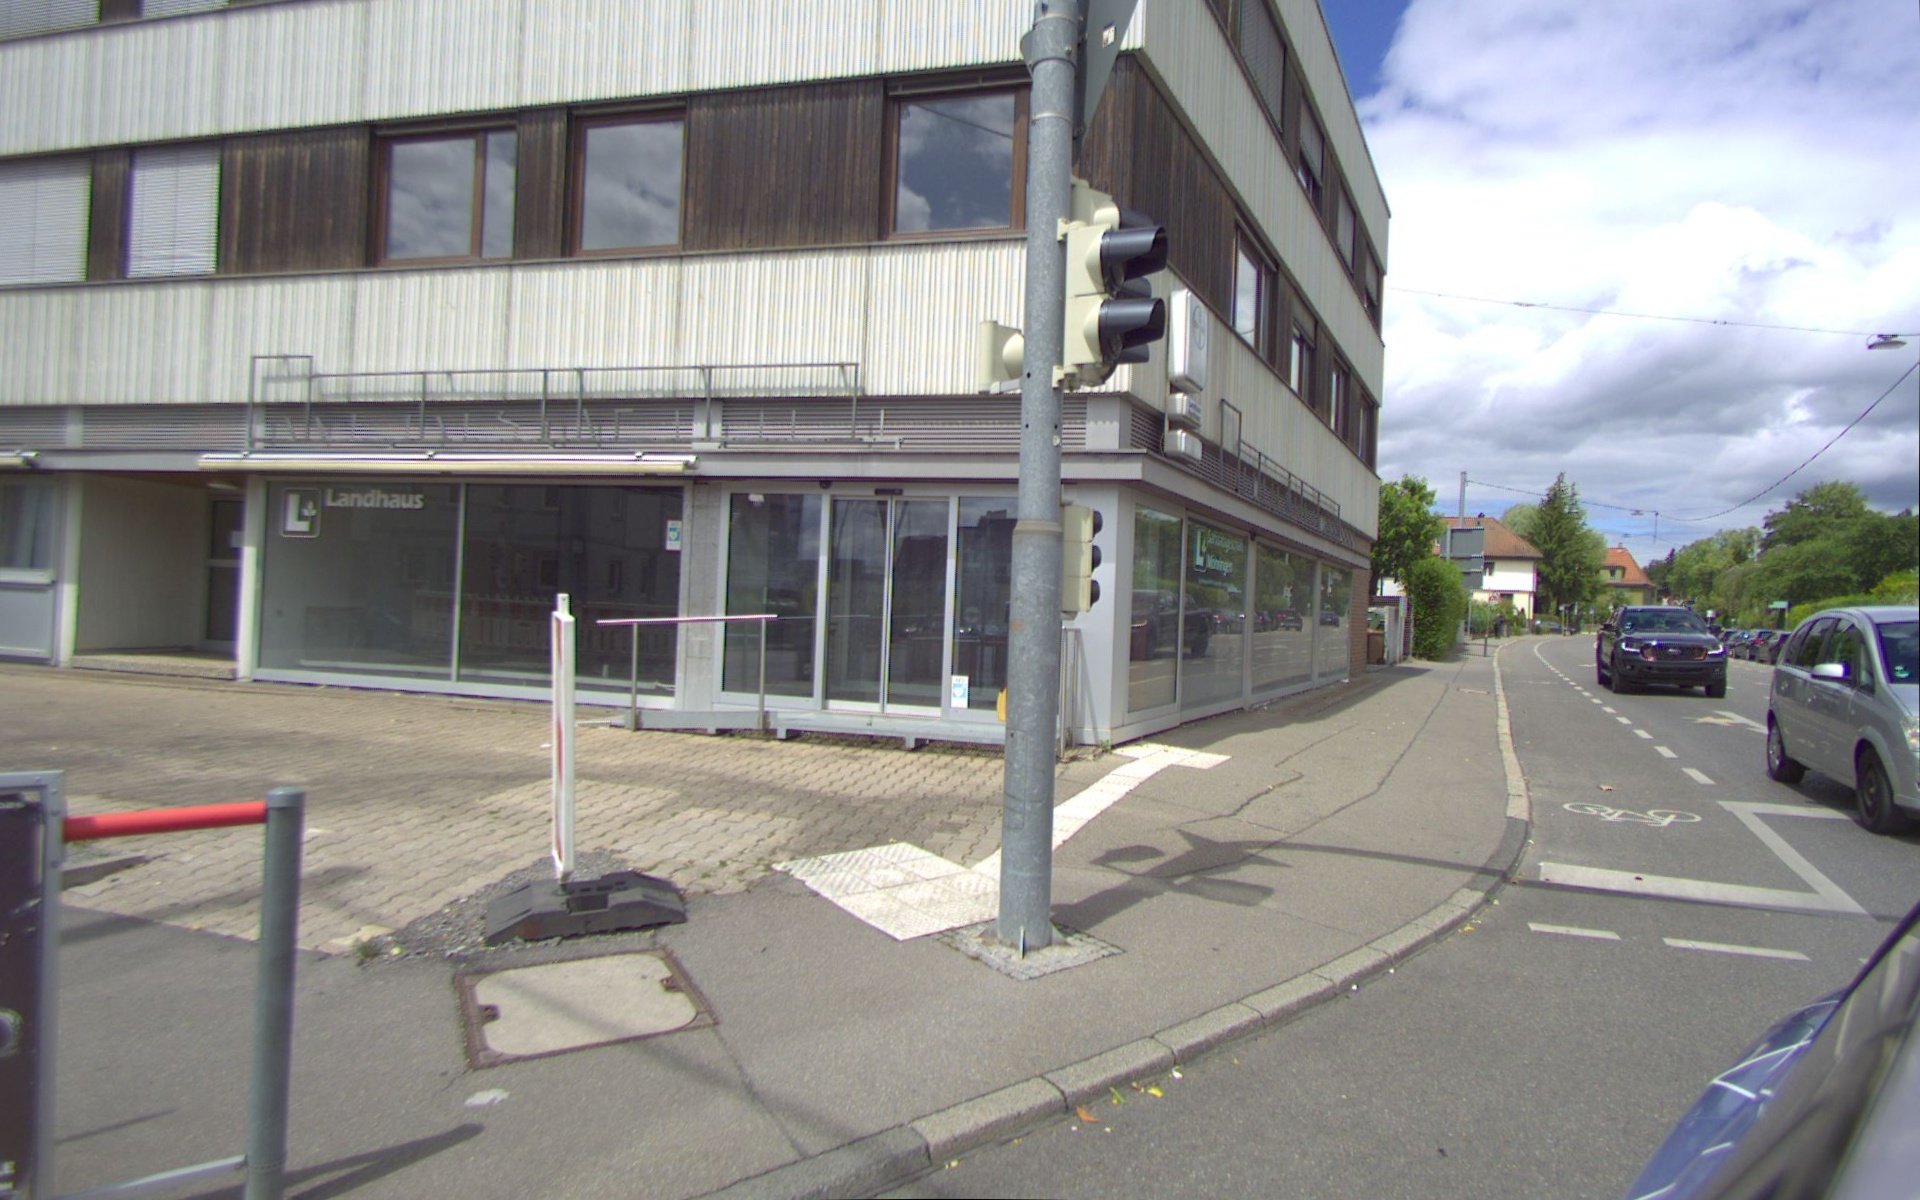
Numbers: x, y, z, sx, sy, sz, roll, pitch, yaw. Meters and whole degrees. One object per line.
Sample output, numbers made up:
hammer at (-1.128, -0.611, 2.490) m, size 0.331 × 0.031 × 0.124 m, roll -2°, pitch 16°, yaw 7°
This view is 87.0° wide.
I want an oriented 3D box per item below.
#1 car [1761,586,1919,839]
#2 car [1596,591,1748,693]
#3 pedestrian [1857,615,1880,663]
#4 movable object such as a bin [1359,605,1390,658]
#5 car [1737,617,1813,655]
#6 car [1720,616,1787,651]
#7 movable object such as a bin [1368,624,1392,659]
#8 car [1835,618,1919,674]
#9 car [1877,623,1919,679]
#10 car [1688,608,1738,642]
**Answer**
car at (7.688, 0.744, 7.743) m, size 1.759 × 1.595 × 3.961 m, roll 1°, pitch -1°, yaw 28°
car at (14.945, 0.804, 21.537) m, size 1.870 × 1.873 × 5.171 m, roll 1°, pitch 0°, yaw 27°
pedestrian at (35.555, 1.518, 39.606) m, size 0.527 × 1.839 × 0.507 m, roll 1°, pitch -1°, yaw 24°
movable object such as a bin at (11.731, 0.874, 28.630) m, size 0.801 × 1.473 × 0.475 m, roll 1°, pitch -1°, yaw 25°
car at (37.801, 1.624, 47.021) m, size 1.982 × 1.654 × 4.193 m, roll 1°, pitch 0°, yaw 28°
car at (40.657, 1.693, 51.962) m, size 1.982 × 1.654 × 4.194 m, roll 0°, pitch 0°, yaw 28°
movable object such as a bin at (11.473, 1.132, 27.666) m, size 0.510 × 0.933 × 0.477 m, roll 1°, pitch -1°, yaw 11°
car at (30.231, 1.445, 32.735) m, size 1.982 × 1.654 × 4.408 m, roll 1°, pitch 0°, yaw 28°
car at (27.652, 1.455, 28.287) m, size 1.801 × 1.520 × 4.413 m, roll 1°, pitch 0°, yaw 26°
car at (45.749, 1.492, 61.520) m, size 1.984 × 1.939 × 4.024 m, roll 1°, pitch -1°, yaw 31°
